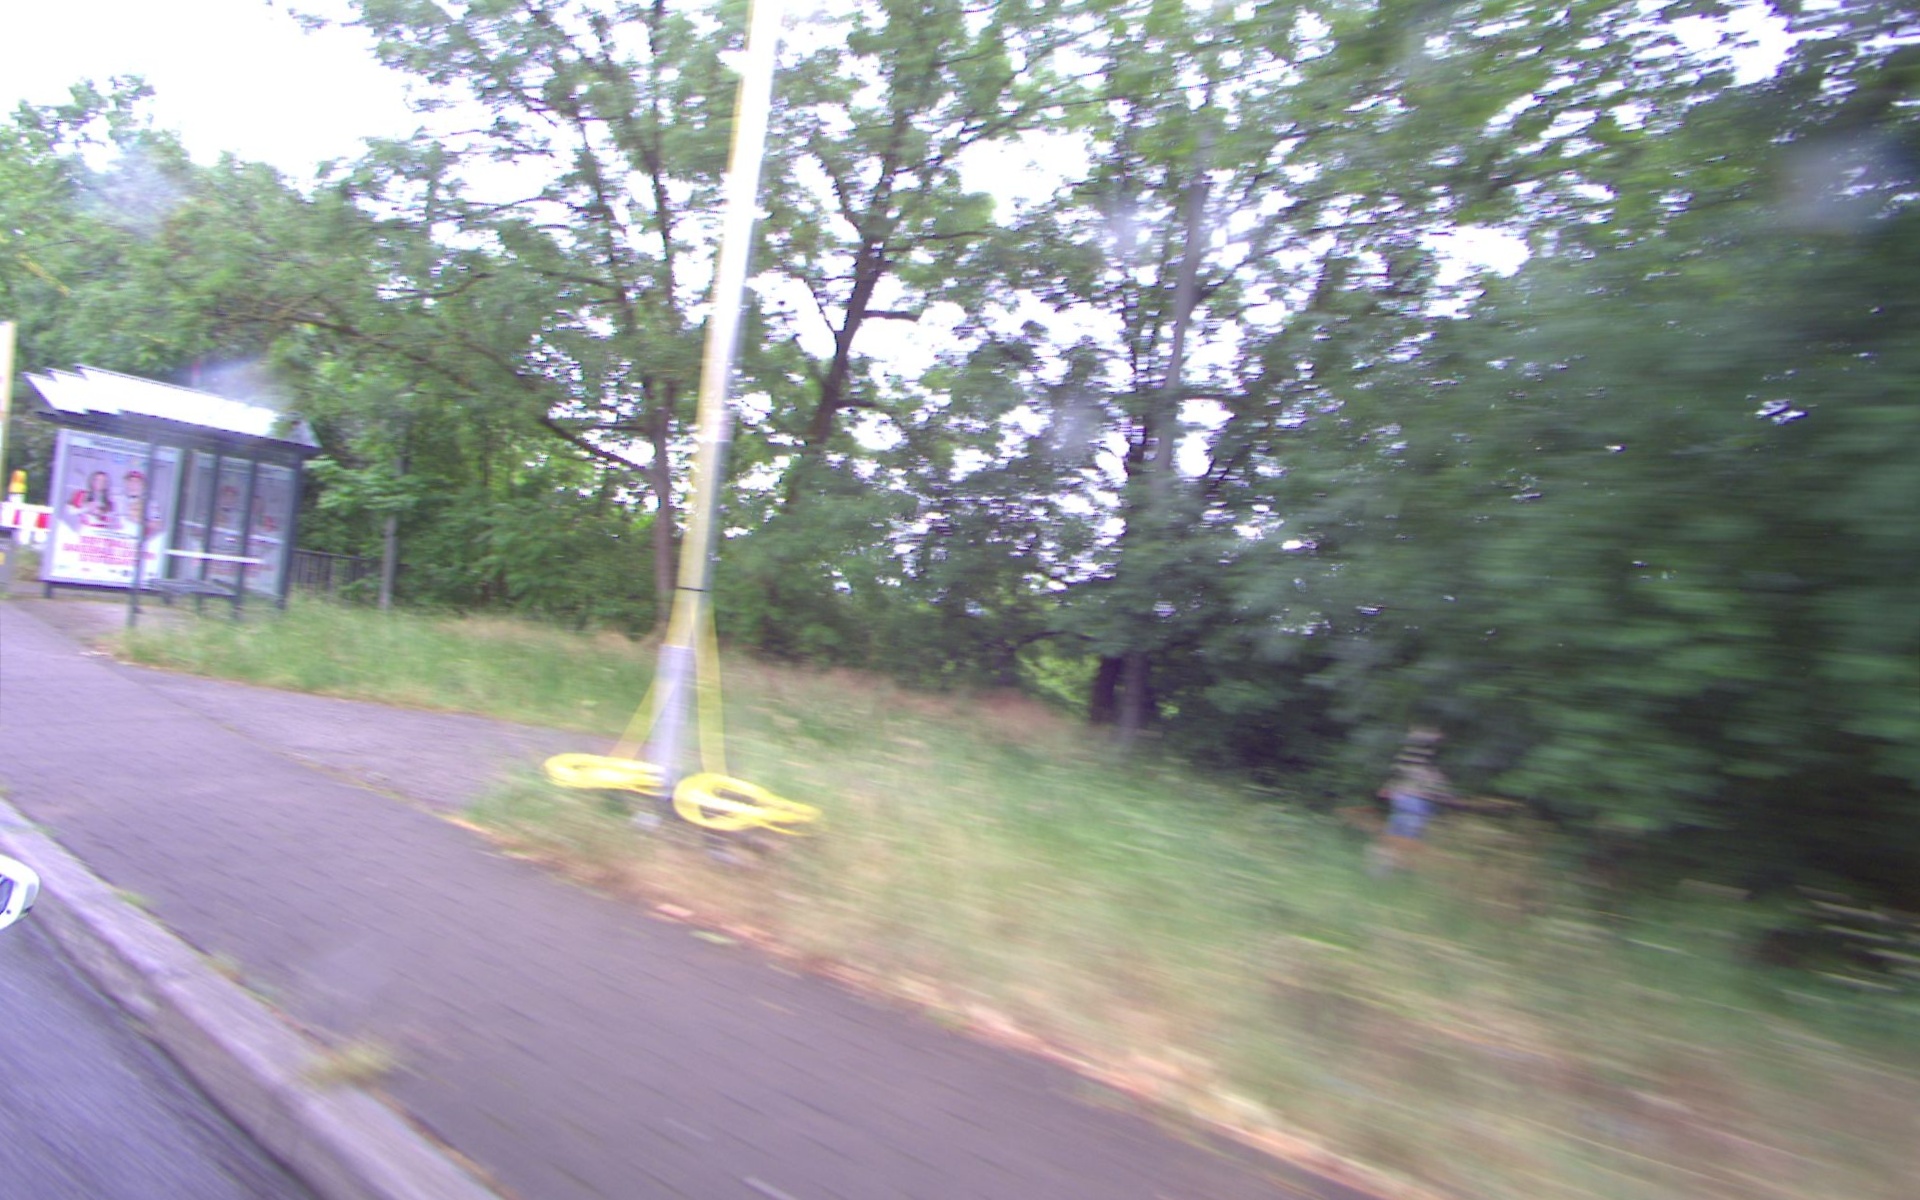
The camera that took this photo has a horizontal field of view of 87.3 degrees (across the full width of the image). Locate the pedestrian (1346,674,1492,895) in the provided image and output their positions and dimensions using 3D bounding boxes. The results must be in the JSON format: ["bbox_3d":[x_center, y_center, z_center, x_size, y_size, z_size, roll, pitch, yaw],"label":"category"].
[{"bbox_3d":[3.745,1.470,8.266,0.738,1.622,0.733,7,-1,7],"label":"pedestrian"}]
